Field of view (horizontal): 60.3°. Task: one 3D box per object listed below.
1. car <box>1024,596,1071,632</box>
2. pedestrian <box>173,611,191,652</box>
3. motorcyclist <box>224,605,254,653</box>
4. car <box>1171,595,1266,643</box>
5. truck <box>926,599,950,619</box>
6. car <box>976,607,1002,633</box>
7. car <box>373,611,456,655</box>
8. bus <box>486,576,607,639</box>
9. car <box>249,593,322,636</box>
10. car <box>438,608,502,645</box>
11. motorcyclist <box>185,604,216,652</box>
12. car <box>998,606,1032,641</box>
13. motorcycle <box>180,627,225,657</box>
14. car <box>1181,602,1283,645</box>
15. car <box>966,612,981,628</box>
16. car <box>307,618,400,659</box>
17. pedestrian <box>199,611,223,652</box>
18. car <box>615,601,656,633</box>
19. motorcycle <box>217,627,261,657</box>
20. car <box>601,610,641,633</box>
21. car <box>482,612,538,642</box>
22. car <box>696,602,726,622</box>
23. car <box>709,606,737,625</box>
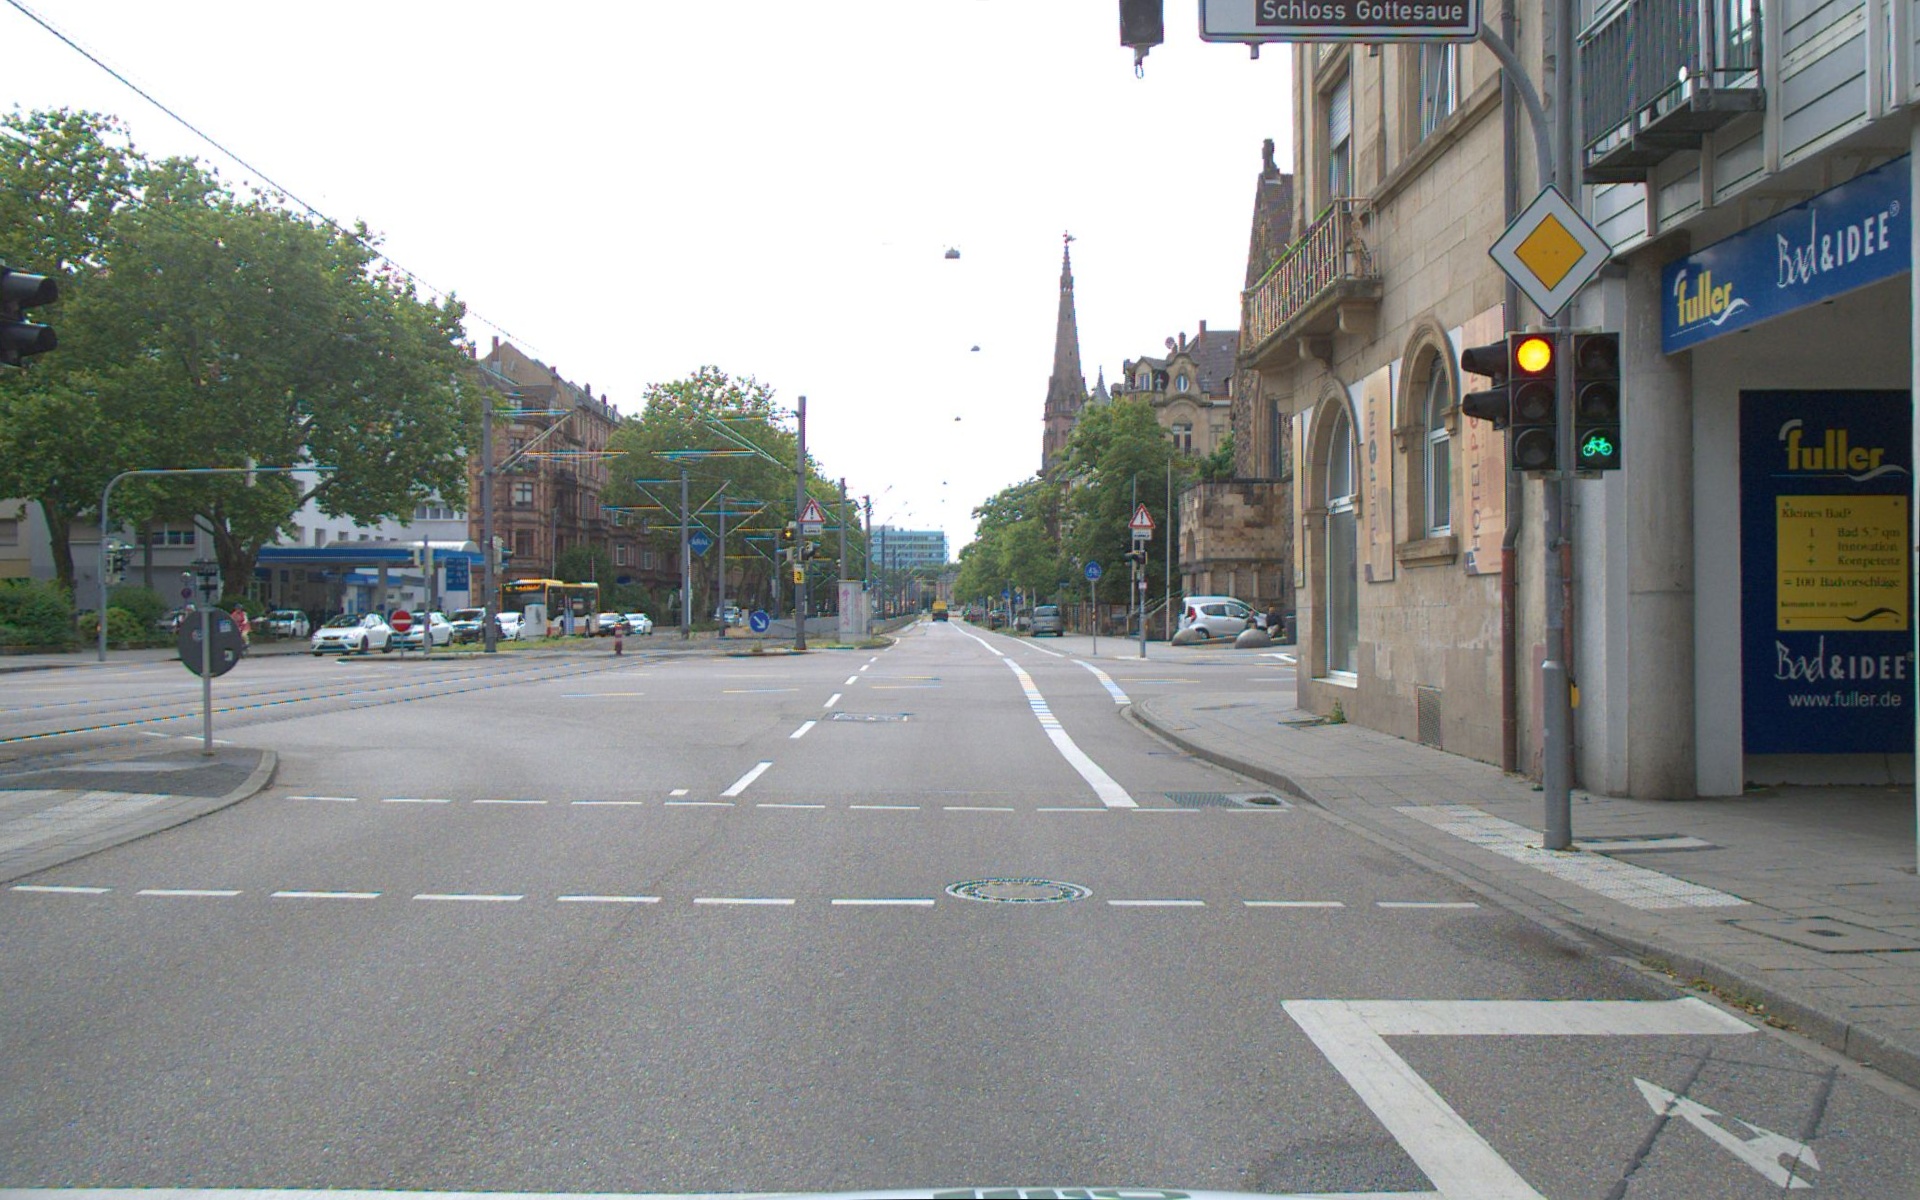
[{"bbox_3d":[4.811,0.767,90.062,1.951,1.888,4.030,1,0,12],"label":"car"},{"bbox_3d":[-28.498,1.145,60.612,0.466,1.485,0.426,0,0,-1],"label":"pedestrian"},{"bbox_3d":[-23.742,0.947,54.457,0.607,1.546,0.873,0,0,-1],"label":"motorcyclist"},{"bbox_3d":[10.687,0.793,68.571,3.638,1.888,2.000,1,0,-1],"label":"car"},{"bbox_3d":[-3.229,1.330,246.373,2.991,2.817,9.819,0,0,3],"label":"truck"},{"bbox_3d":[2.371,1.619,136.094,1.953,2.049,3.999,1,0,-1],"label":"car"},{"bbox_3d":[-21.427,1.280,65.142,1.953,1.622,3.999,1,0,-1],"label":"car"},{"bbox_3d":[-21.971,0.408,88.768,3.164,3.088,12.312,1,0,1],"label":"bus"},{"bbox_3d":[-32.902,0.689,80.770,1.953,2.049,3.999,0,0,-1],"label":"car"},{"bbox_3d":[-21.227,1.131,71.795,1.622,1.504,3.638,1,0,1],"label":"car"},{"bbox_3d":[-24.710,0.916,53.839,0.607,1.546,0.873,0,0,-1],"label":"motorcyclist"},{"bbox_3d":[3.283,1.415,99.651,1.952,2.049,4.000,1,0,1],"label":"car"},{"bbox_3d":[-24.729,1.362,54.025,0.594,0.945,1.951,0,0,0],"label":"motorcycle"},{"bbox_3d":[10.670,0.925,65.088,3.638,1.591,2.000,1,0,-1],"label":"car"},{"bbox_3d":[1.760,2.646,216.838,1.953,2.049,3.999,1,0,-1],"label":"car"},{"bbox_3d":[-21.440,1.325,58.643,1.711,1.344,4.075,1,0,1],"label":"car"},{"bbox_3d":[-27.541,1.169,60.855,0.634,1.505,0.557,0,0,-1],"label":"pedestrian"},{"bbox_3d":[-21.416,1.122,109.273,1.953,2.049,3.999,1,0,-1],"label":"car"},{"bbox_3d":[-23.720,1.371,54.466,0.594,0.945,1.951,0,0,0],"label":"motorcycle"},{"bbox_3d":[-20.862,1.295,101.925,1.622,1.344,3.638,1,0,1],"label":"car"},{"bbox_3d":[-21.384,1.276,78.714,1.622,1.344,3.638,1,0,1],"label":"car"},{"bbox_3d":[-21.228,1.011,141.196,1.953,1.639,3.999,1,0,-1],"label":"car"},{"bbox_3d":[-21.344,1.367,149.005,1.953,1.639,3.999,1,0,-1],"label":"car"}]
